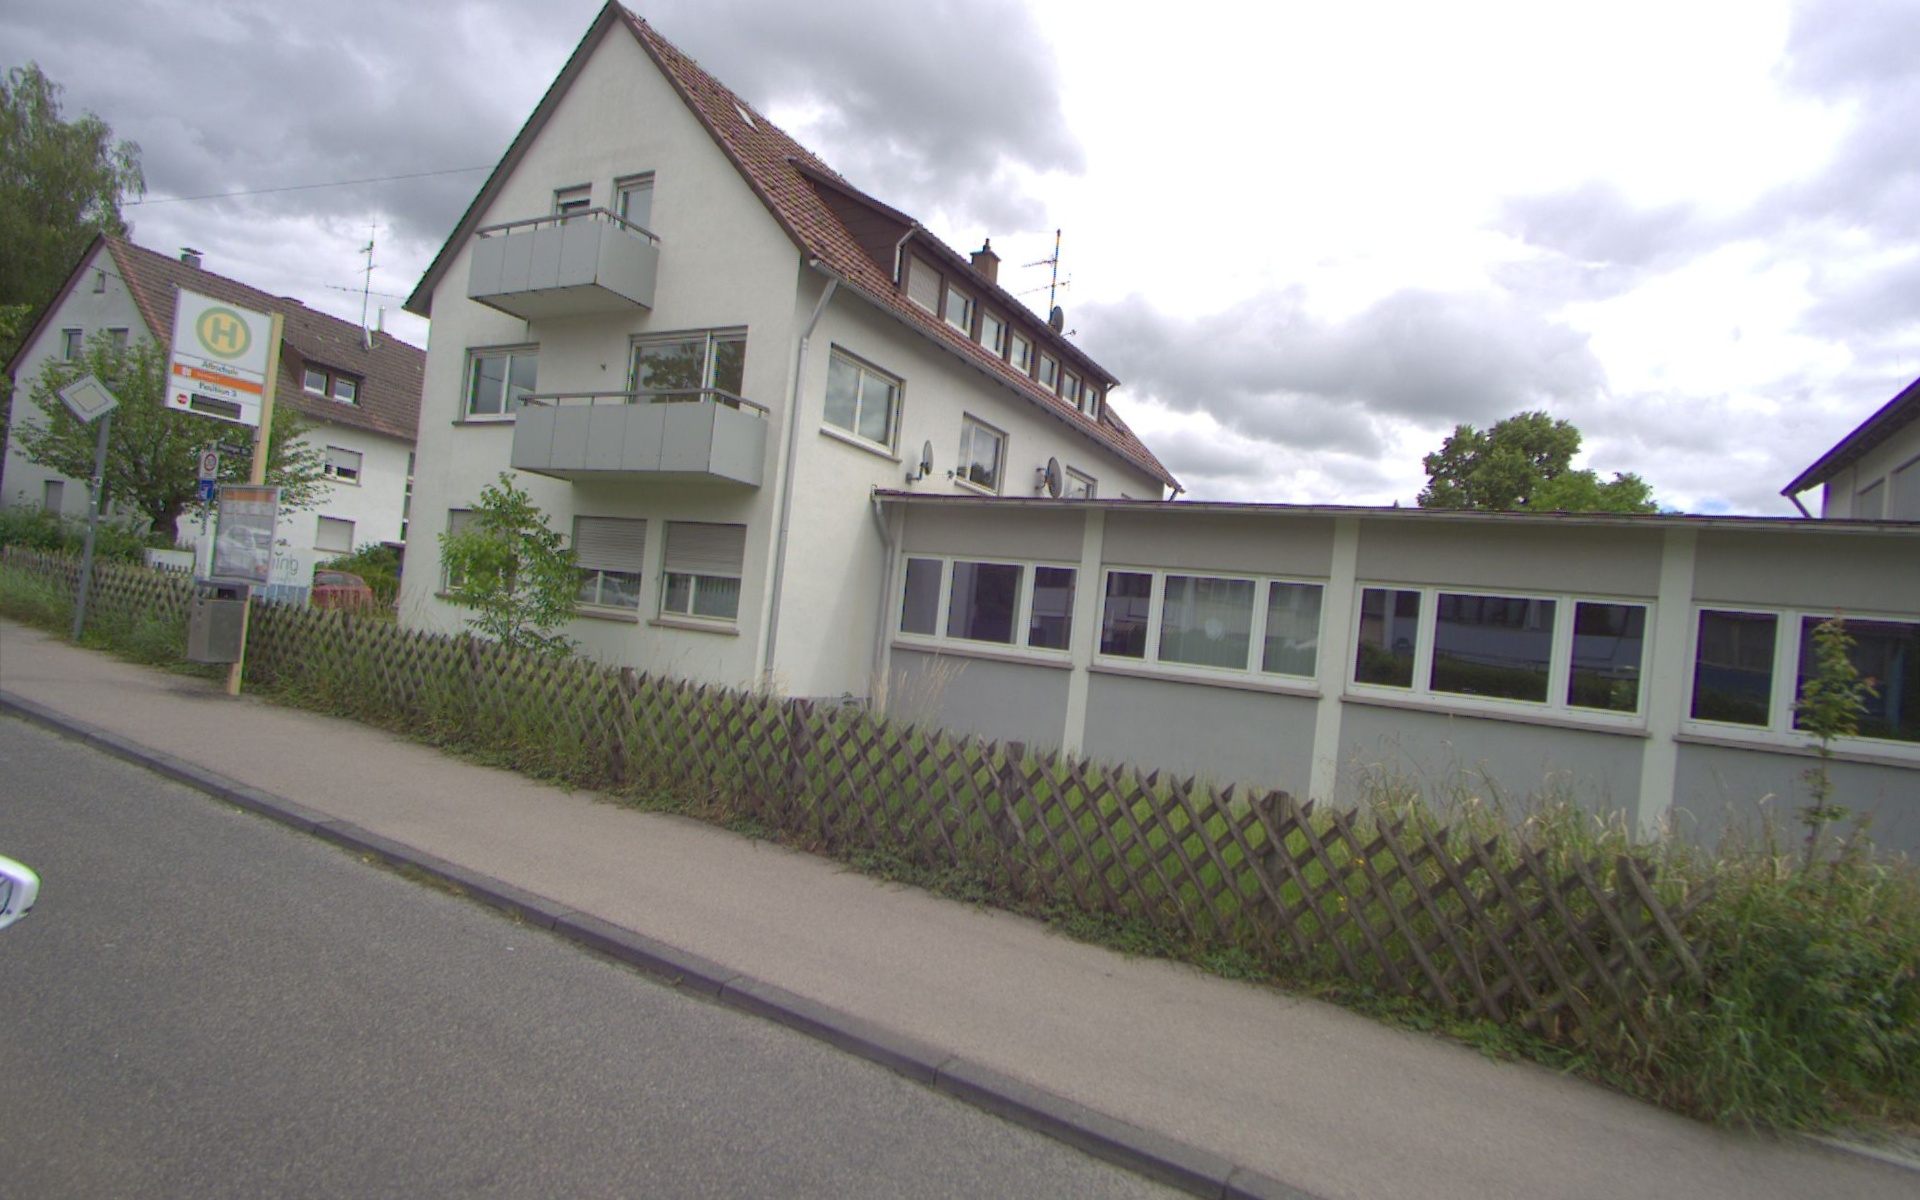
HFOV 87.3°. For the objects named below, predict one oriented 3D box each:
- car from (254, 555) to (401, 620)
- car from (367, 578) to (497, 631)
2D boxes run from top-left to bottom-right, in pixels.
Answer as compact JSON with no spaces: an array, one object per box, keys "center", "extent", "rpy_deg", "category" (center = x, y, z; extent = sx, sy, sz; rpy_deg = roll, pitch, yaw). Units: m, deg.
[{"center":[-20.077,-0.338,32.128],"extent":[1.655,1.580,3.716],"rpy_deg":[4,-4,16],"category":"car"},{"center":[-18.903,0.197,36.174],"extent":[1.810,1.384,3.744],"rpy_deg":[5,-4,22],"category":"car"}]
